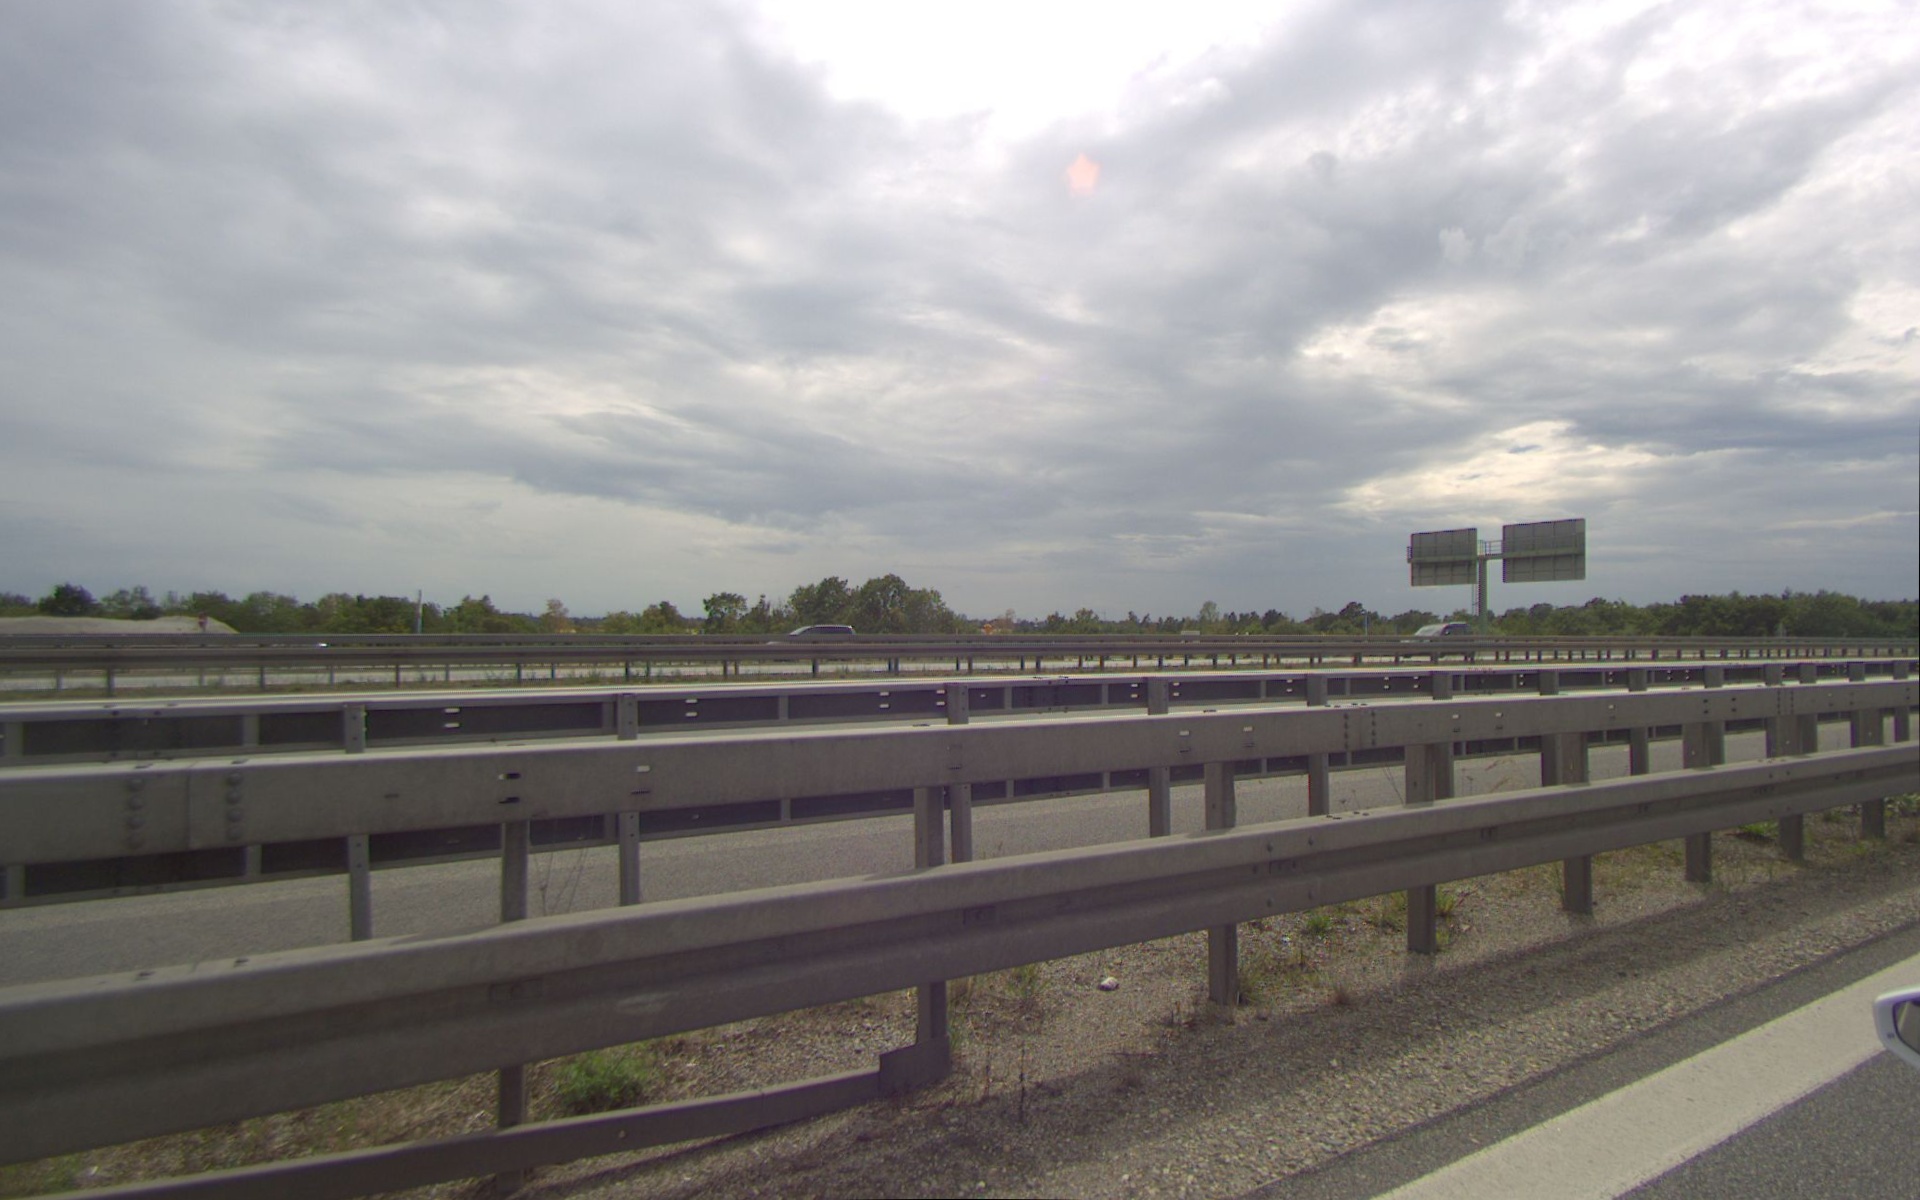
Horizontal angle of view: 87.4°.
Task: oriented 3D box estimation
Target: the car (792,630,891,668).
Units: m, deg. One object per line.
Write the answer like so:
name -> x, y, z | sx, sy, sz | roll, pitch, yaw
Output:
car -> -5.396, 2.209, 45.833 | 4.121, 1.548, 1.820 | 1, 2, -28
